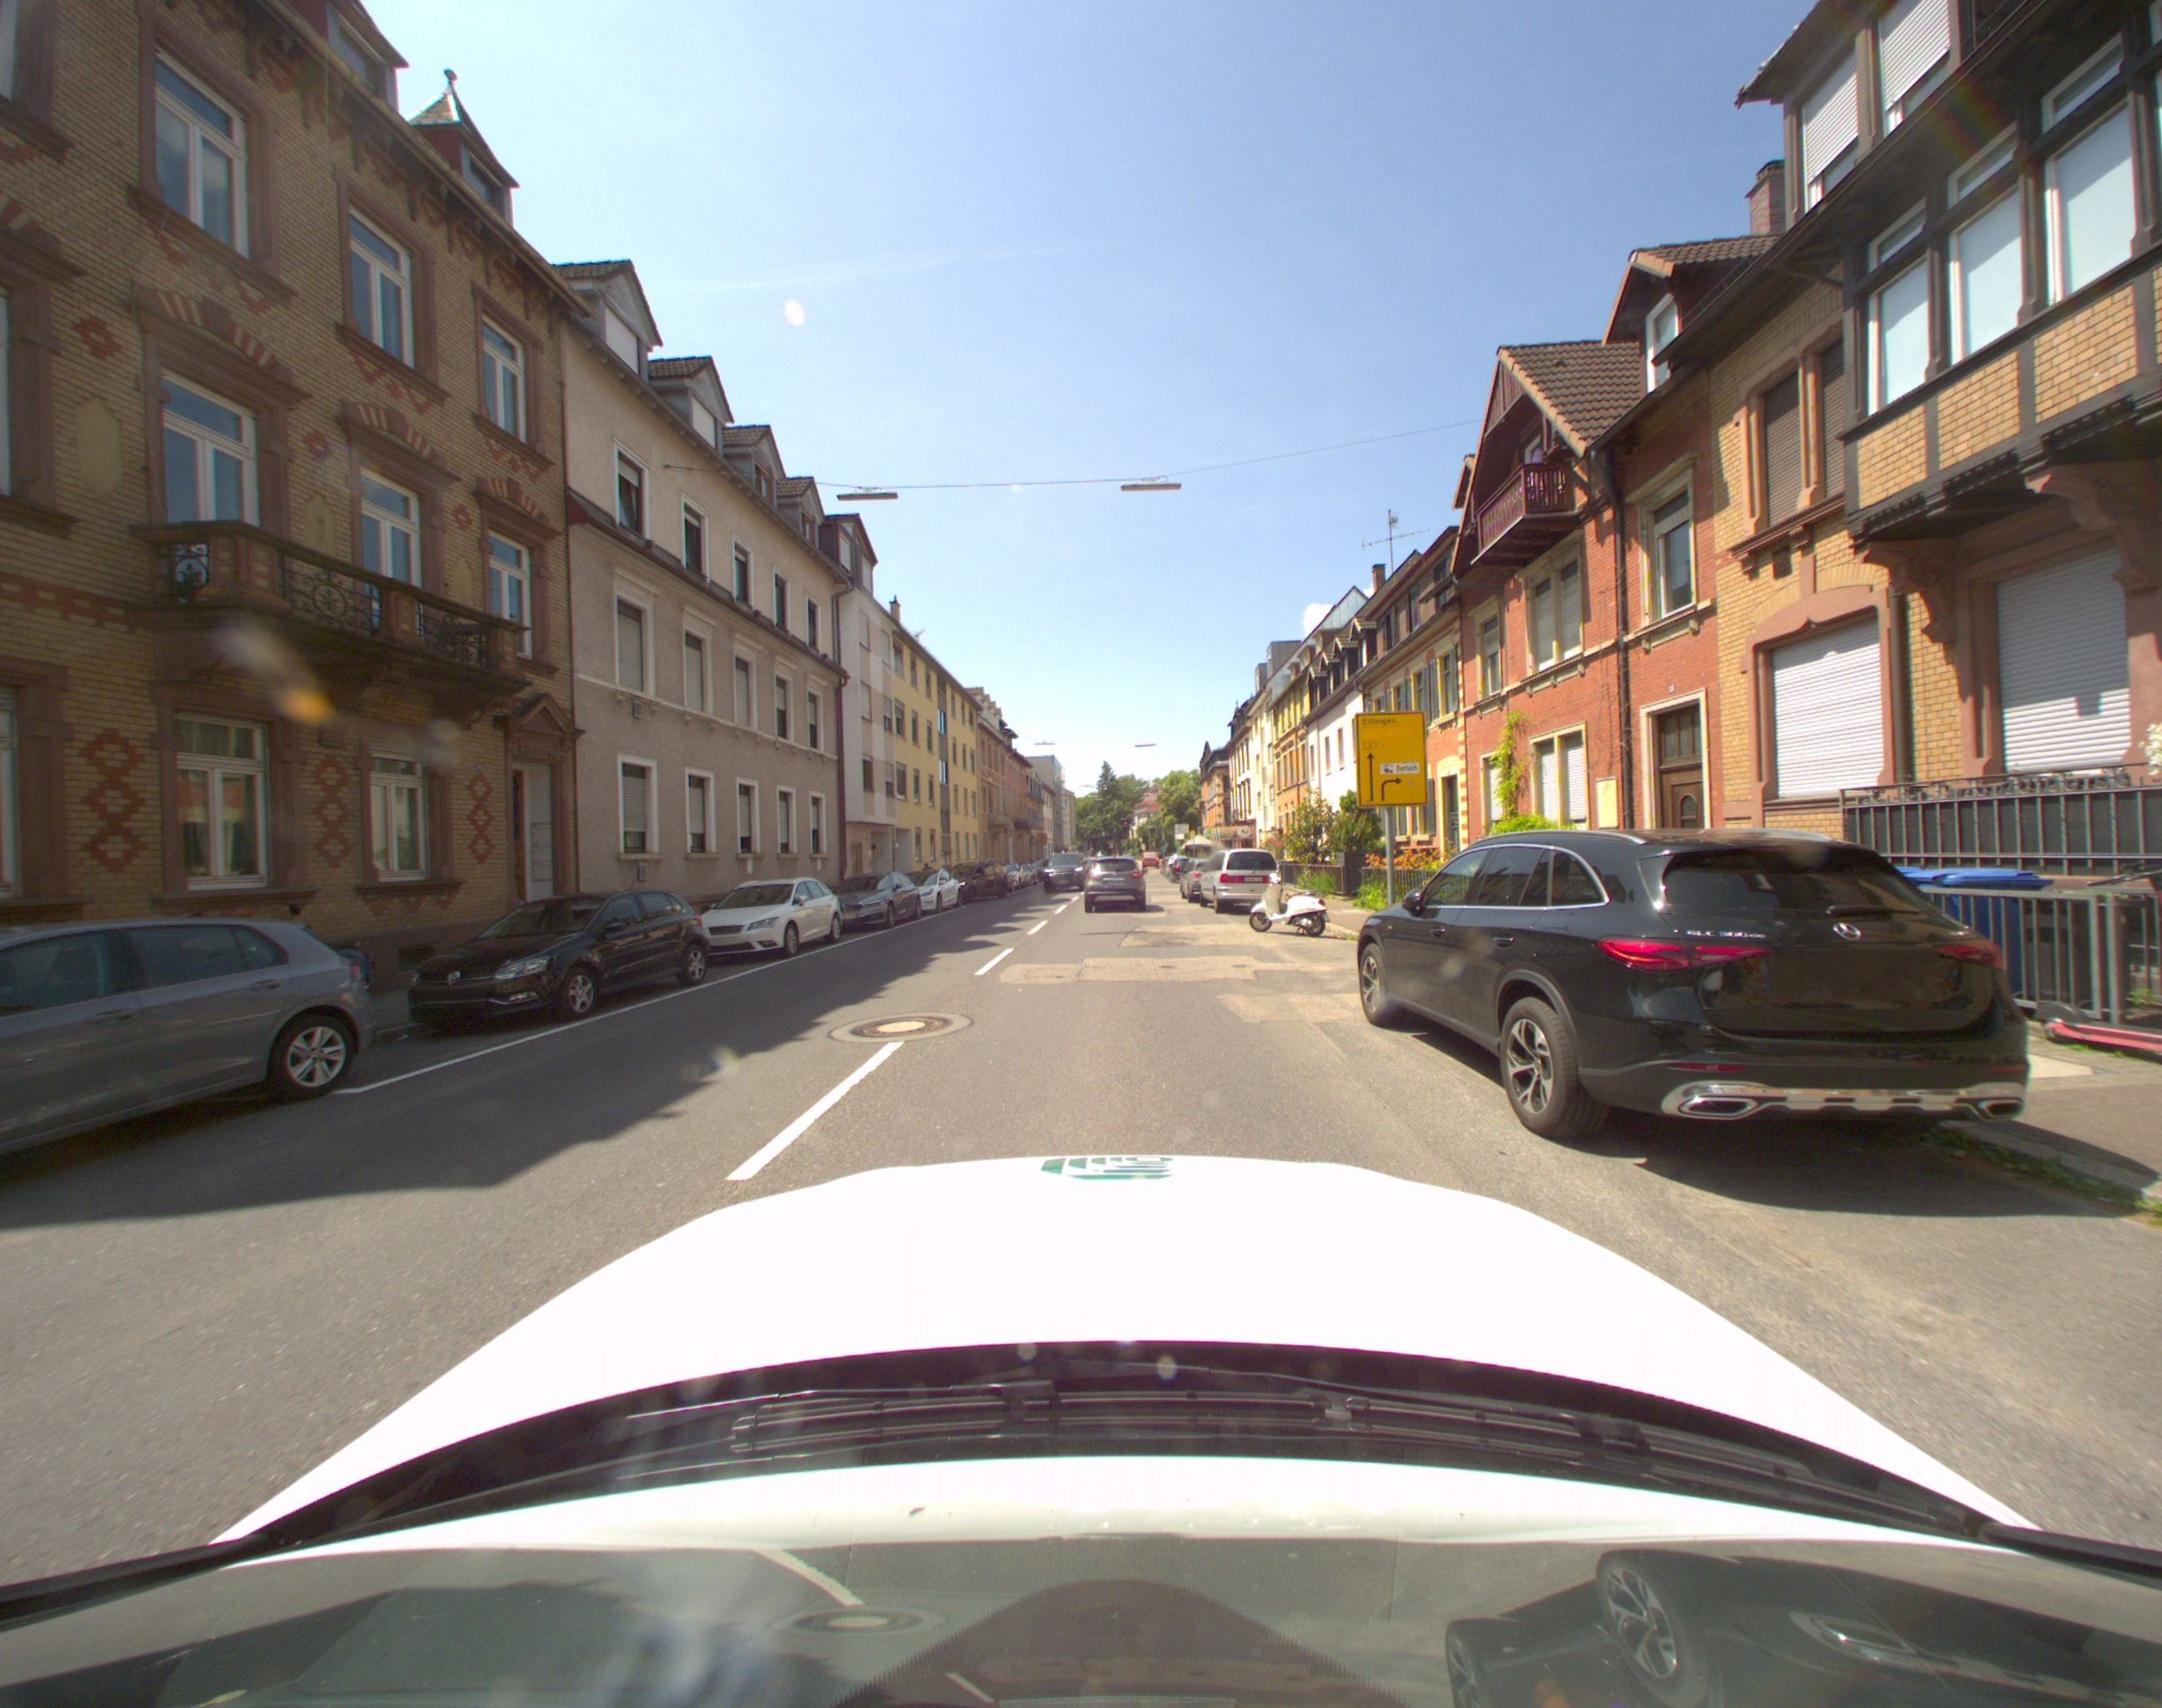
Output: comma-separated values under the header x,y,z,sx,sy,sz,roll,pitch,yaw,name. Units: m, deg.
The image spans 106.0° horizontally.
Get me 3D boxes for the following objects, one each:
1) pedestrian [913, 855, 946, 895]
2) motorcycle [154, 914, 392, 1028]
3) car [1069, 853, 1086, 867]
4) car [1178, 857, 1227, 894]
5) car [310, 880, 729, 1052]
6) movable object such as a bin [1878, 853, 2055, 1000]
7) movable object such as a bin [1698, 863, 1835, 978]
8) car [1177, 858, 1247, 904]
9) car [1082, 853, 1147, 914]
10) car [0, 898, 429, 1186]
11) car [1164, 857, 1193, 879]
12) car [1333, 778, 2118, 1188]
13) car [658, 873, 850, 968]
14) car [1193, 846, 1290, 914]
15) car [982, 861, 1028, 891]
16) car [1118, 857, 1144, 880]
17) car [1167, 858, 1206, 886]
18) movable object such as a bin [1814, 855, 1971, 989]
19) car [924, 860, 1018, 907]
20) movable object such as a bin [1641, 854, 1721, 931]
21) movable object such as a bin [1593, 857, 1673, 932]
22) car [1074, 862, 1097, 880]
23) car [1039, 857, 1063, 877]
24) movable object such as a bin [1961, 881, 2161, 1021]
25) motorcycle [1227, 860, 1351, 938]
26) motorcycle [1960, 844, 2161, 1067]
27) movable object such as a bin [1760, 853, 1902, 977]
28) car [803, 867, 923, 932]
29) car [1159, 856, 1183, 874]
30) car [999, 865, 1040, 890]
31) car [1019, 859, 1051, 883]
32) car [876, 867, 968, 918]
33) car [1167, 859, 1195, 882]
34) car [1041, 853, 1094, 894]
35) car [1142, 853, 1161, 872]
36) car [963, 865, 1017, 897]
x,y,z,sx,sy,sz,roll,pitch,yaw,name
-6.923,0.937,37.199,1.144,1.750,0.972,-2,-1,12,pedestrian
-9.244,1.293,9.450,0.709,1.053,1.939,-1,-1,6,motorcycle
-0.502,0.882,112.840,1.896,1.821,4.307,-2,0,4,car
5.274,0.882,35.787,1.689,1.487,4.621,0,0,3,car
-6.489,1.169,10.231,1.832,1.422,4.506,-5,-1,3,car
7.005,0.554,6.472,0.785,1.088,0.539,-2,-1,-1,movable object such as a bin
6.965,0.649,8.306,0.785,1.088,0.686,-2,-1,-1,movable object such as a bin
4.487,0.874,28.513,1.854,1.487,4.310,0,0,1,car
1.011,0.823,24.323,1.737,1.616,4.003,-1,0,3,car
-6.735,1.165,4.894,1.834,1.422,4.502,-6,-1,1,car
6.888,0.959,57.743,1.852,1.553,4.005,0,0,4,car
3.418,0.565,5.754,1.985,1.662,4.628,-2,-1,3,car
-6.149,1.180,15.989,1.834,1.422,4.502,-4,-1,0,car
4.442,0.680,23.222,1.854,1.748,4.617,0,0,0,car
-4.207,1.191,45.804,1.897,1.510,4.305,-4,-1,3,car
3.907,1.131,63.917,1.806,1.620,4.442,-3,-1,1,car
6.010,0.995,46.690,1.853,1.465,4.621,0,0,3,car
6.999,0.566,7.048,0.785,1.088,0.543,-2,-1,-1,movable object such as a bin
-4.510,1.180,34.134,1.888,1.638,4.581,-4,-1,20,car
8.792,0.549,11.965,0.606,1.077,0.762,-2,-1,3,movable object such as a bin
8.119,0.579,12.002,0.656,1.055,0.749,-2,-1,3,movable object such as a bin
0.361,1.371,67.655,1.810,1.388,4.000,-2,-1,1,car
-2.654,1.111,72.510,1.899,1.620,4.300,-4,-1,-1,car
6.989,0.668,5.821,0.785,0.907,0.539,-2,-1,-1,movable object such as a bin
3.947,0.822,15.505,1.970,1.385,1.120,-2,-1,41,motorcycle
6.269,0.568,4.910,0.438,1.237,1.358,-3,0,2,motorcycle
7.006,0.555,7.633,0.785,1.088,0.553,-2,-1,-1,movable object such as a bin
-5.702,1.128,21.917,1.834,1.422,4.646,-4,-1,0,car
7.467,0.902,67.977,1.606,1.443,3.437,-1,0,0,car
-3.857,1.447,51.716,1.897,1.401,4.758,-4,-1,3,car
-3.447,1.287,61.540,1.897,1.620,4.305,-4,-1,2,car
-5.281,1.231,27.690,1.832,1.422,4.562,-5,-1,4,car
6.554,1.039,53.623,1.652,1.441,4.004,0,0,4,car
-0.564,0.895,39.482,1.984,1.792,5.155,-3,0,5,car
8.078,0.923,93.341,1.983,2.013,4.475,-2,0,7,car
-4.482,1.317,40.616,1.896,1.379,4.065,-4,-1,3,car
